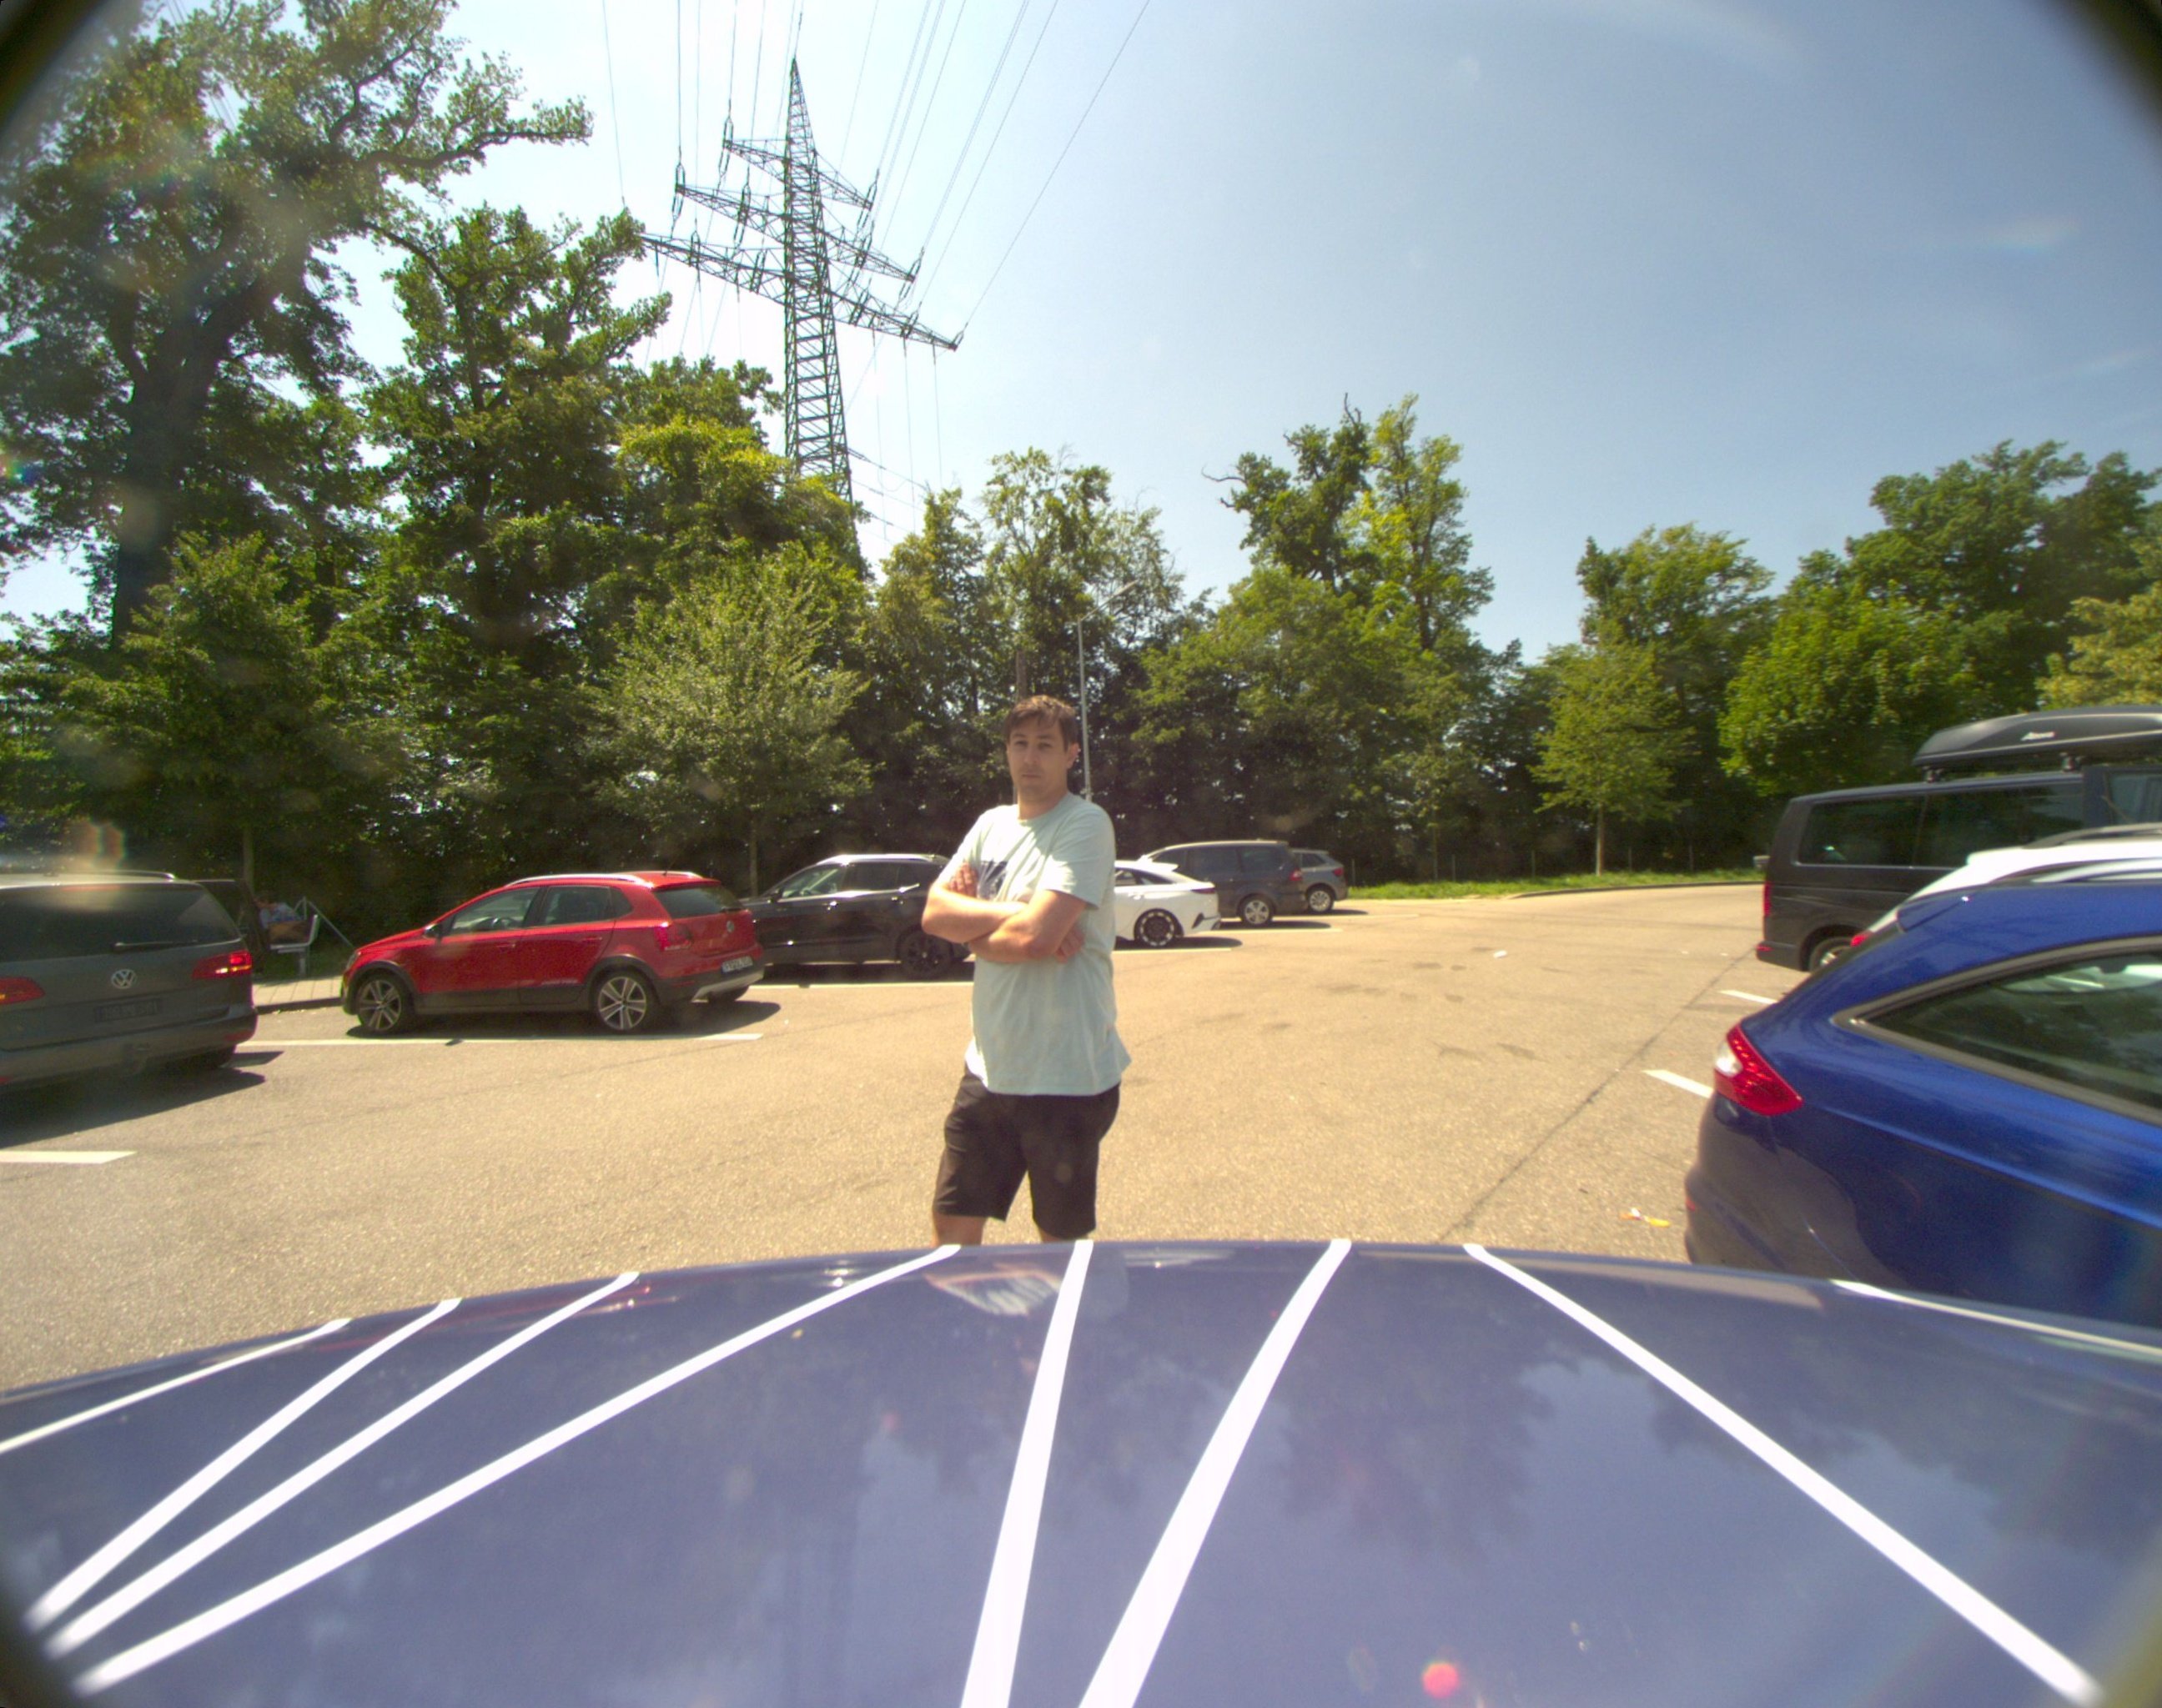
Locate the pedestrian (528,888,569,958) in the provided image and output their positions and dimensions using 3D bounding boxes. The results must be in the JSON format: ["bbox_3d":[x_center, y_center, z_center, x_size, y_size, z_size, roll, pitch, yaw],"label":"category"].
[{"bbox_3d":[-10.171,1.302,14.512,0.490,1.291,0.506,-2,0,41],"label":"pedestrian"}]

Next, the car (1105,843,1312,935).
[{"bbox_3d":[2.507,0.686,15.470,3.882,1.680,1.882,-1,0,5],"label":"car"}]

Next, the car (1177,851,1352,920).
[{"bbox_3d":[4.256,0.713,18.114,3.805,1.468,1.743,-1,1,5],"label":"car"}]

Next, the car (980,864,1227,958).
[{"bbox_3d":[0.405,0.912,12.719,3.805,1.359,1.803,-1,1,5],"label":"car"}]

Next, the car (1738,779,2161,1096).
[{"bbox_3d":[7.305,0.460,5.003,2.048,1.850,4.430,-2,-1,-1],"label":"car"}]

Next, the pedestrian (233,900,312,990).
[{"bbox_3d":[-11.753,1.302,11.054,0.680,1.211,0.675,-4,-2,36],"label":"pedestrian"}]

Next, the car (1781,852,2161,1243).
[{"bbox_3d":[4.778,0.704,2.406,1.607,1.405,3.743,-2,-1,-1],"label":"car"}]

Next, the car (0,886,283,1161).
[{"bbox_3d":[-8.344,1.097,5.426,3.950,1.581,1.753,-1,1,11],"label":"car"}]

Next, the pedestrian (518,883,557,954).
[{"bbox_3d":[-10.956,1.285,15.318,0.490,1.367,0.506,-2,0,41],"label":"pedestrian"}]

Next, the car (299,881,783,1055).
[{"bbox_3d":[-5.243,1.067,7.642,3.804,1.449,1.637,-1,1,7],"label":"car"}]

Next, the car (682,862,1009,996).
[{"bbox_3d":[-3.009,0.942,10.269,3.806,1.538,1.759,-1,1,2],"label":"car"}]

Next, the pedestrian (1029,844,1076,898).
[{"bbox_3d":[-0.705,0.416,18.936,0.890,1.292,0.865,-2,0,16],"label":"pedestrian"}]

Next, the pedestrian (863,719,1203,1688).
[{"bbox_3d":[-0.181,0.667,1.905,0.634,1.857,0.747,-2,0,-17],"label":"pedestrian"}]
